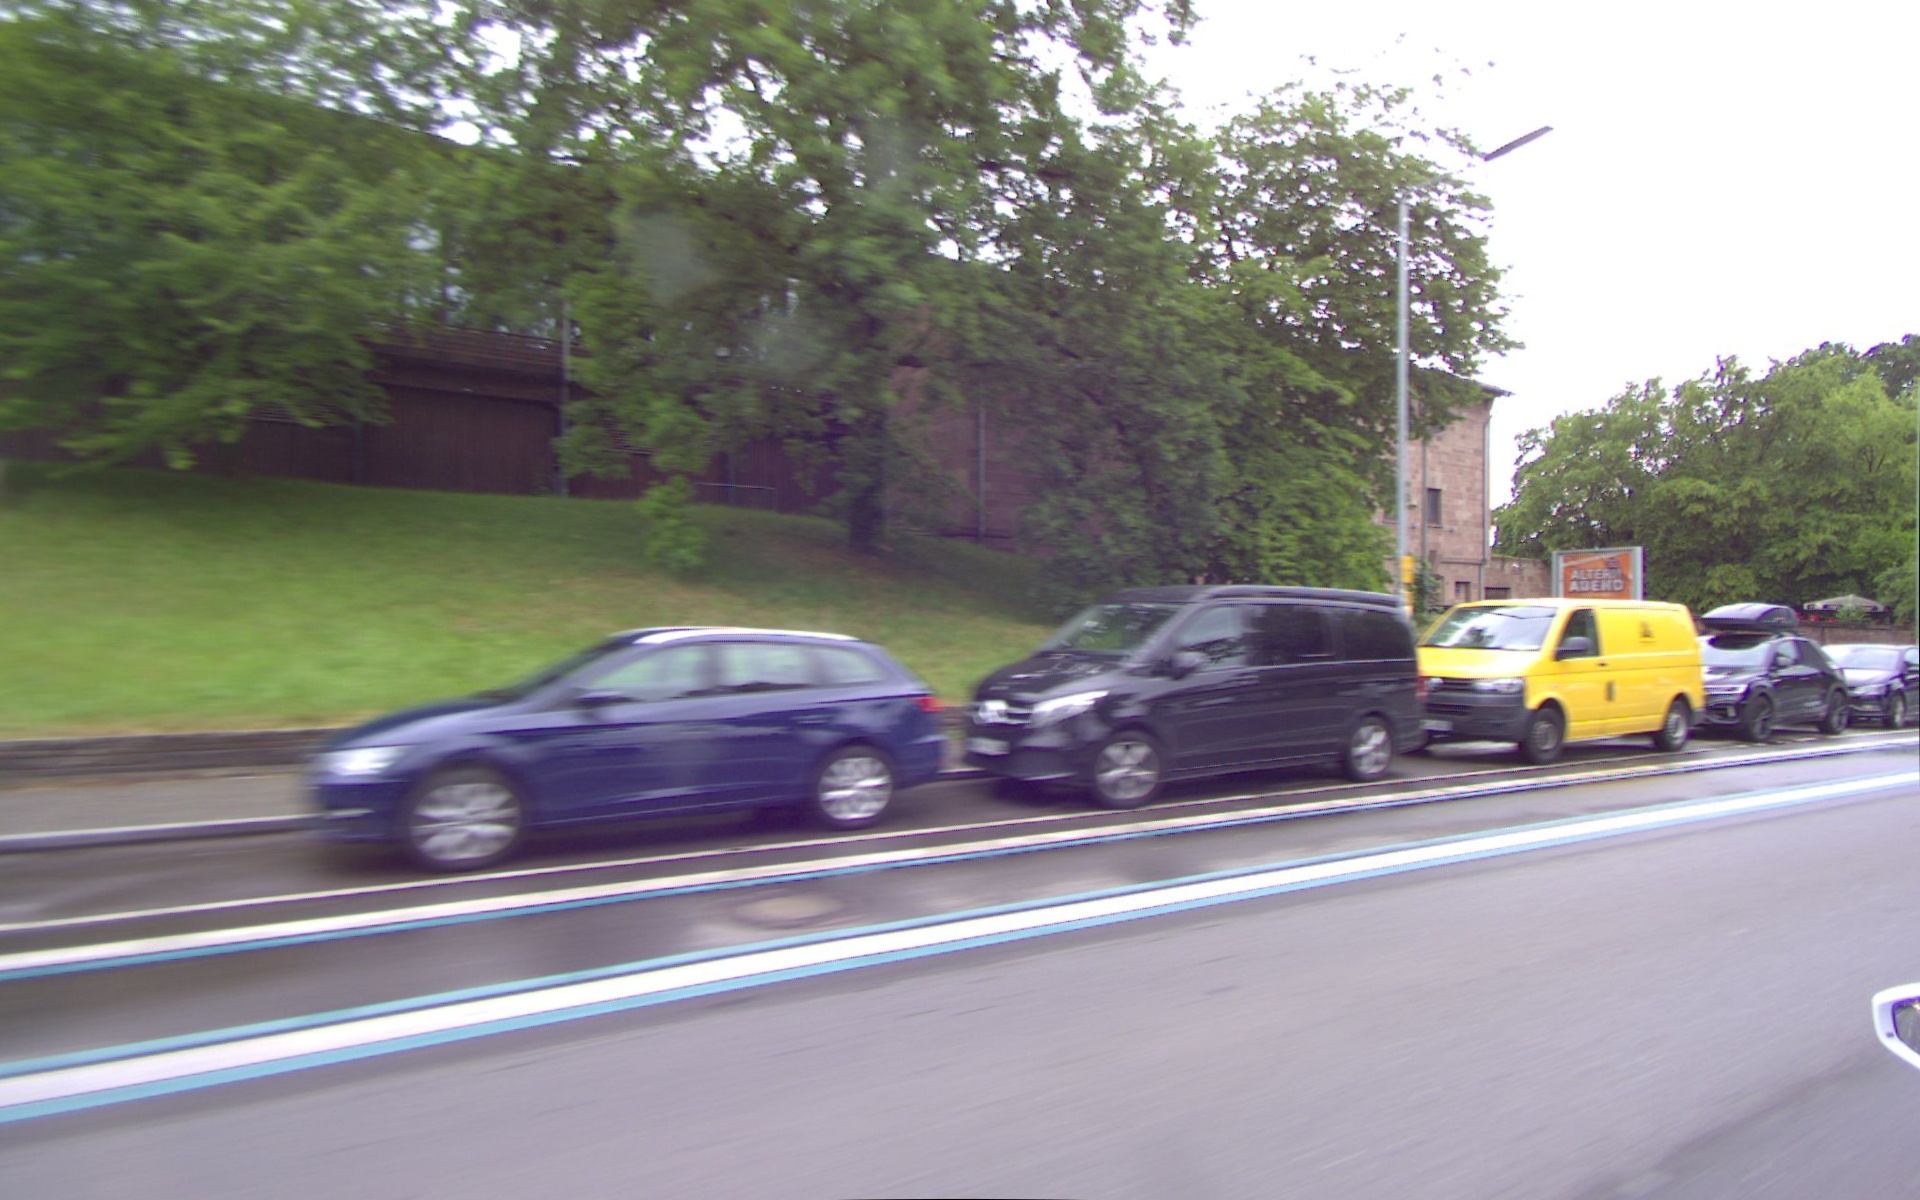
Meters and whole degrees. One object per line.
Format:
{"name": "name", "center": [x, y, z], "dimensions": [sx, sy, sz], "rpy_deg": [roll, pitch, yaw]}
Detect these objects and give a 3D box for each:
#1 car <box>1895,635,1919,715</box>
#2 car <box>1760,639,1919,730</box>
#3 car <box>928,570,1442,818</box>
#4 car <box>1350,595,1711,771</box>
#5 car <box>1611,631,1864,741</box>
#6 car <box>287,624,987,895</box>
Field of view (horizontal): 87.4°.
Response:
{"name": "car", "center": [22.012, 1.598, 21.433], "dimensions": [4.608, 1.637, 1.815], "rpy_deg": [1, -1, -31]}
{"name": "car", "center": [16.392, 1.470, 18.247], "dimensions": [3.990, 1.465, 1.600], "rpy_deg": [1, -1, -30]}
{"name": "car", "center": [2.372, 0.817, 10.029], "dimensions": [5.143, 1.945, 1.868], "rpy_deg": [1, -2, -30]}
{"name": "car", "center": [7.518, 0.981, 13.124], "dimensions": [4.787, 1.938, 1.984], "rpy_deg": [1, -1, -30]}
{"name": "car", "center": [12.303, 1.281, 15.856], "dimensions": [4.099, 1.524, 1.702], "rpy_deg": [1, -1, -29]}
{"name": "car", "center": [-2.160, 0.944, 7.431], "dimensions": [4.559, 1.478, 1.675], "rpy_deg": [1, -2, -31]}
